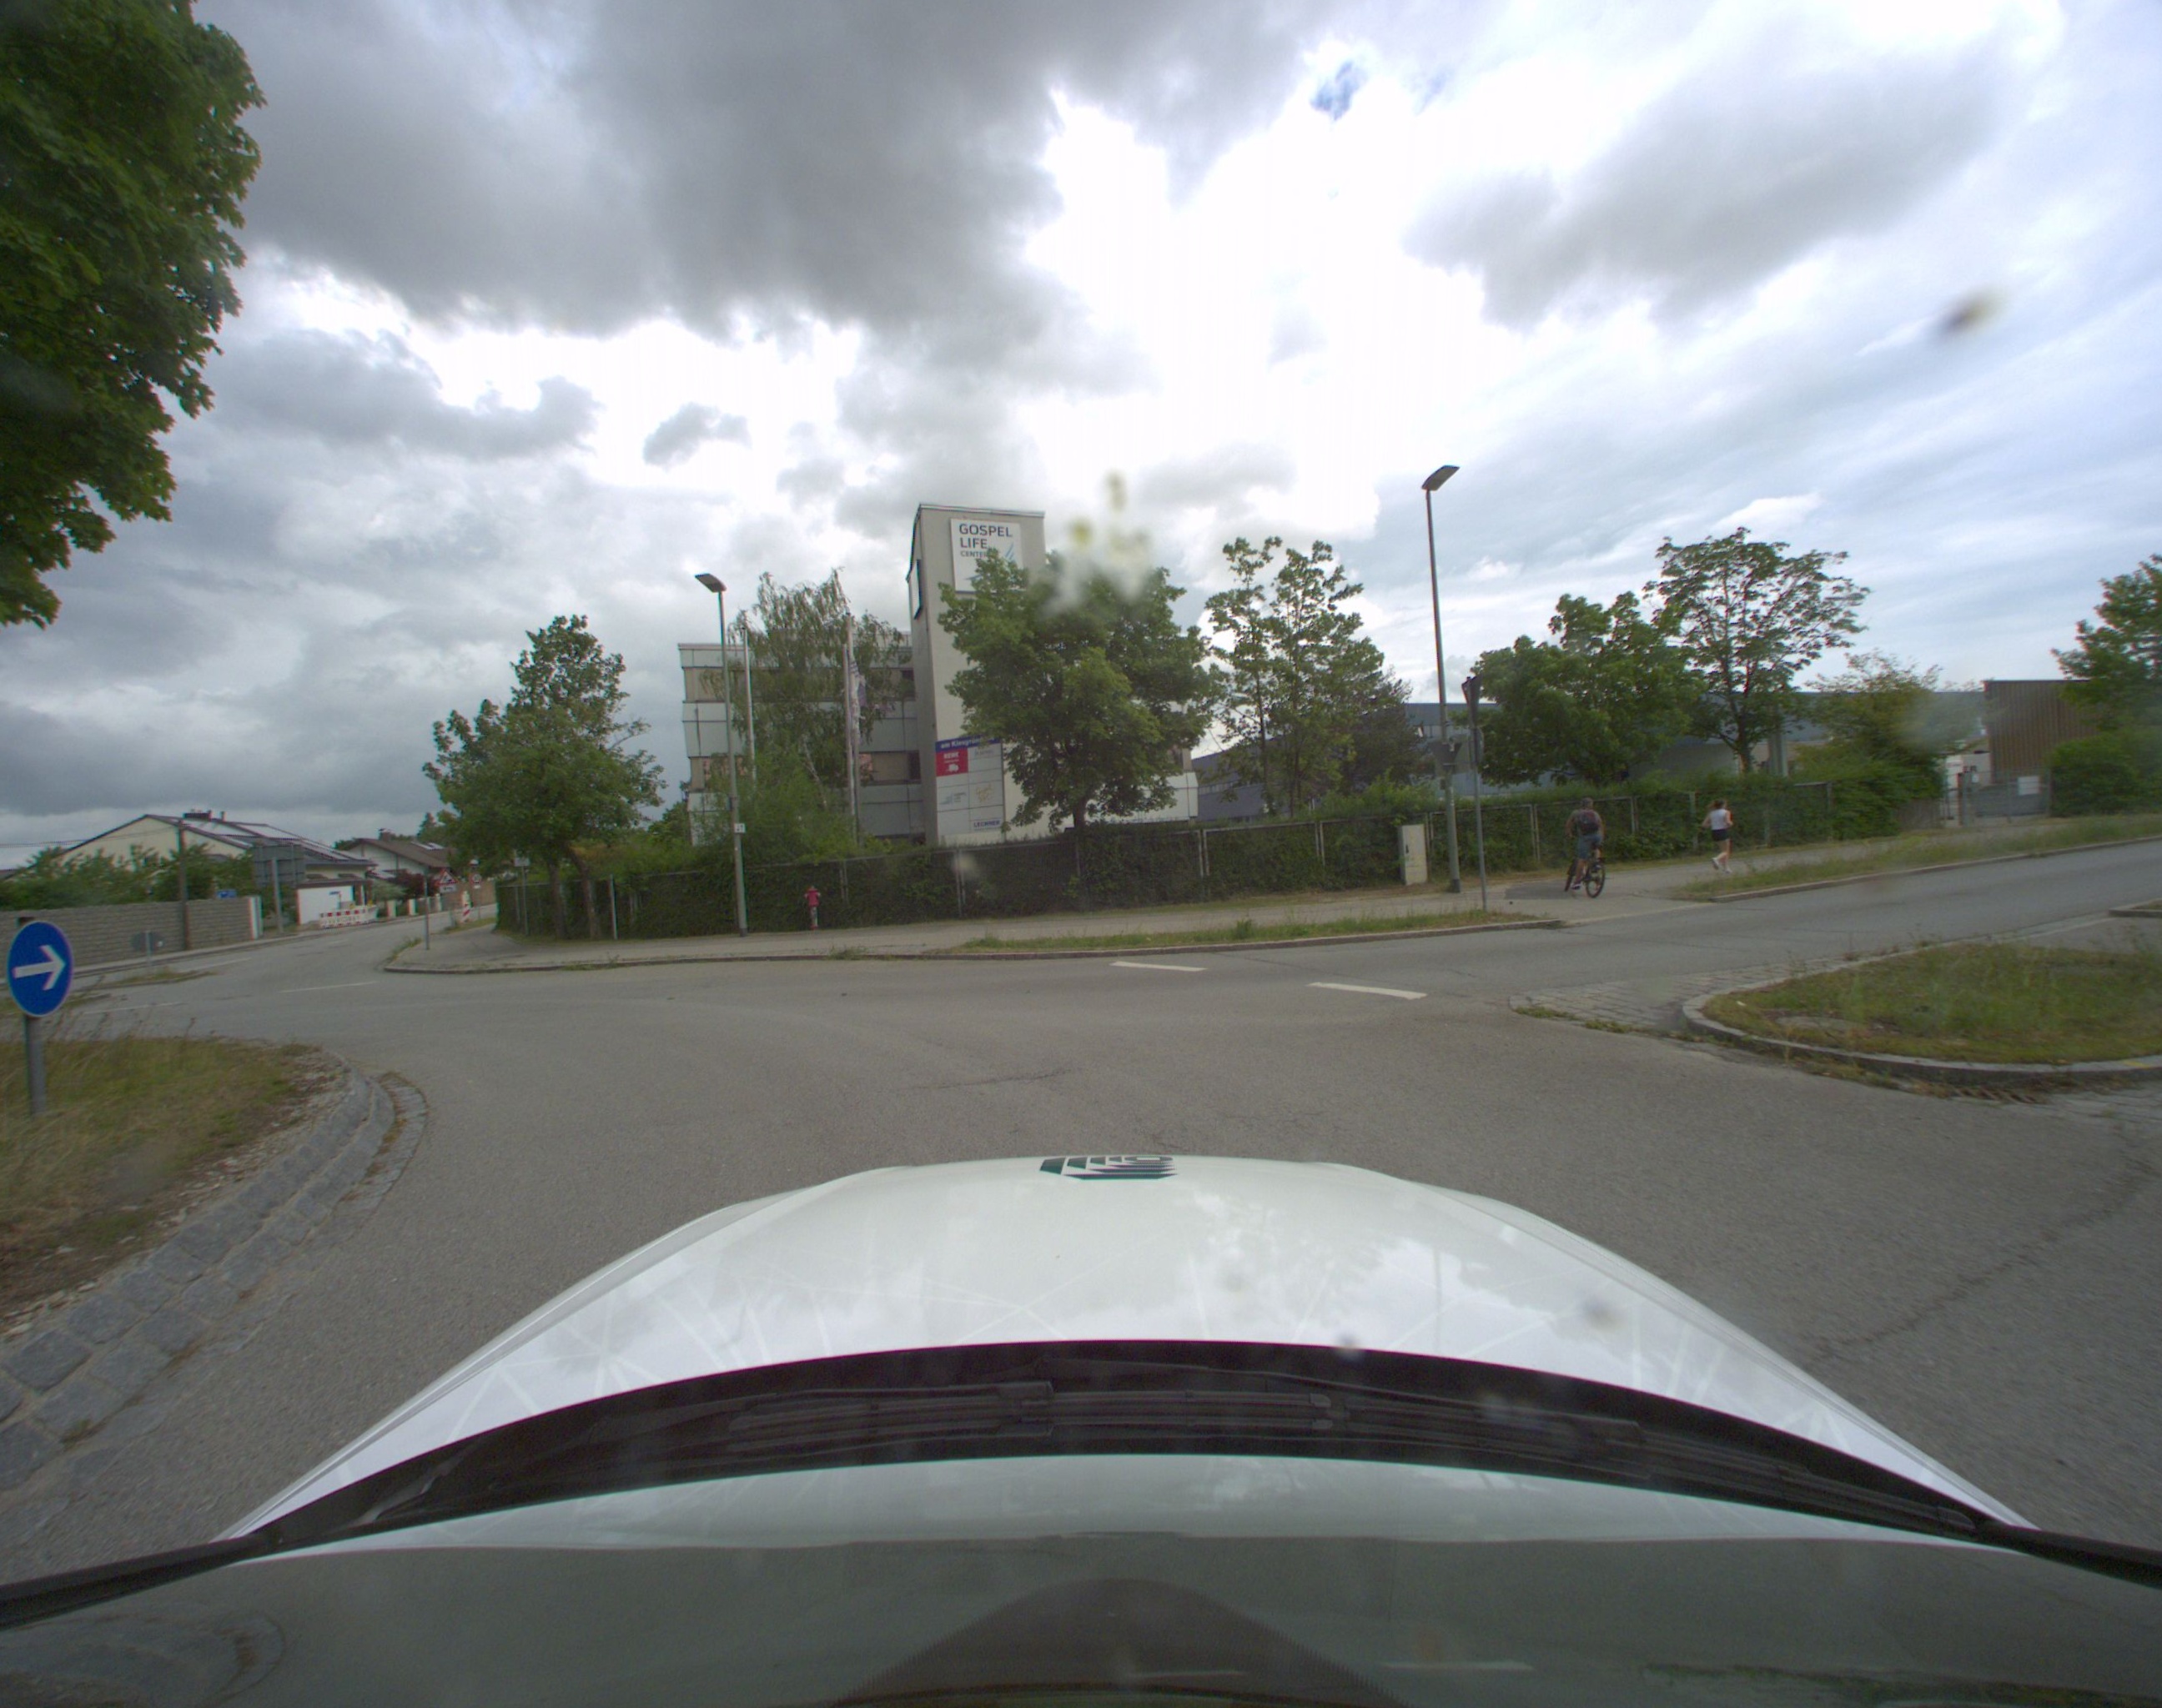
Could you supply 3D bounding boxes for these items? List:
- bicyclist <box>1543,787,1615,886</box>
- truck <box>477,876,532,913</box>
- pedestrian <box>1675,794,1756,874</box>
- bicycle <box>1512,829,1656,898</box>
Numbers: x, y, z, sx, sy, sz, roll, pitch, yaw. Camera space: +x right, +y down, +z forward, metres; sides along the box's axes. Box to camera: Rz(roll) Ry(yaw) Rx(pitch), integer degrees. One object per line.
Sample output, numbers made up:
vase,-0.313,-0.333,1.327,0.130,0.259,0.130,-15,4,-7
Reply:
bicyclist,9.101,-0.336,14.908,0.657,1.722,0.916,-4,3,-10
truck,-46.112,3.177,65.287,2.292,2.499,5.245,-5,1,-22
pedestrian,13.120,-0.420,16.848,1.043,1.544,0.784,-5,1,-14
bicycle,9.155,0.124,14.975,0.768,1.088,2.498,-4,3,-10
